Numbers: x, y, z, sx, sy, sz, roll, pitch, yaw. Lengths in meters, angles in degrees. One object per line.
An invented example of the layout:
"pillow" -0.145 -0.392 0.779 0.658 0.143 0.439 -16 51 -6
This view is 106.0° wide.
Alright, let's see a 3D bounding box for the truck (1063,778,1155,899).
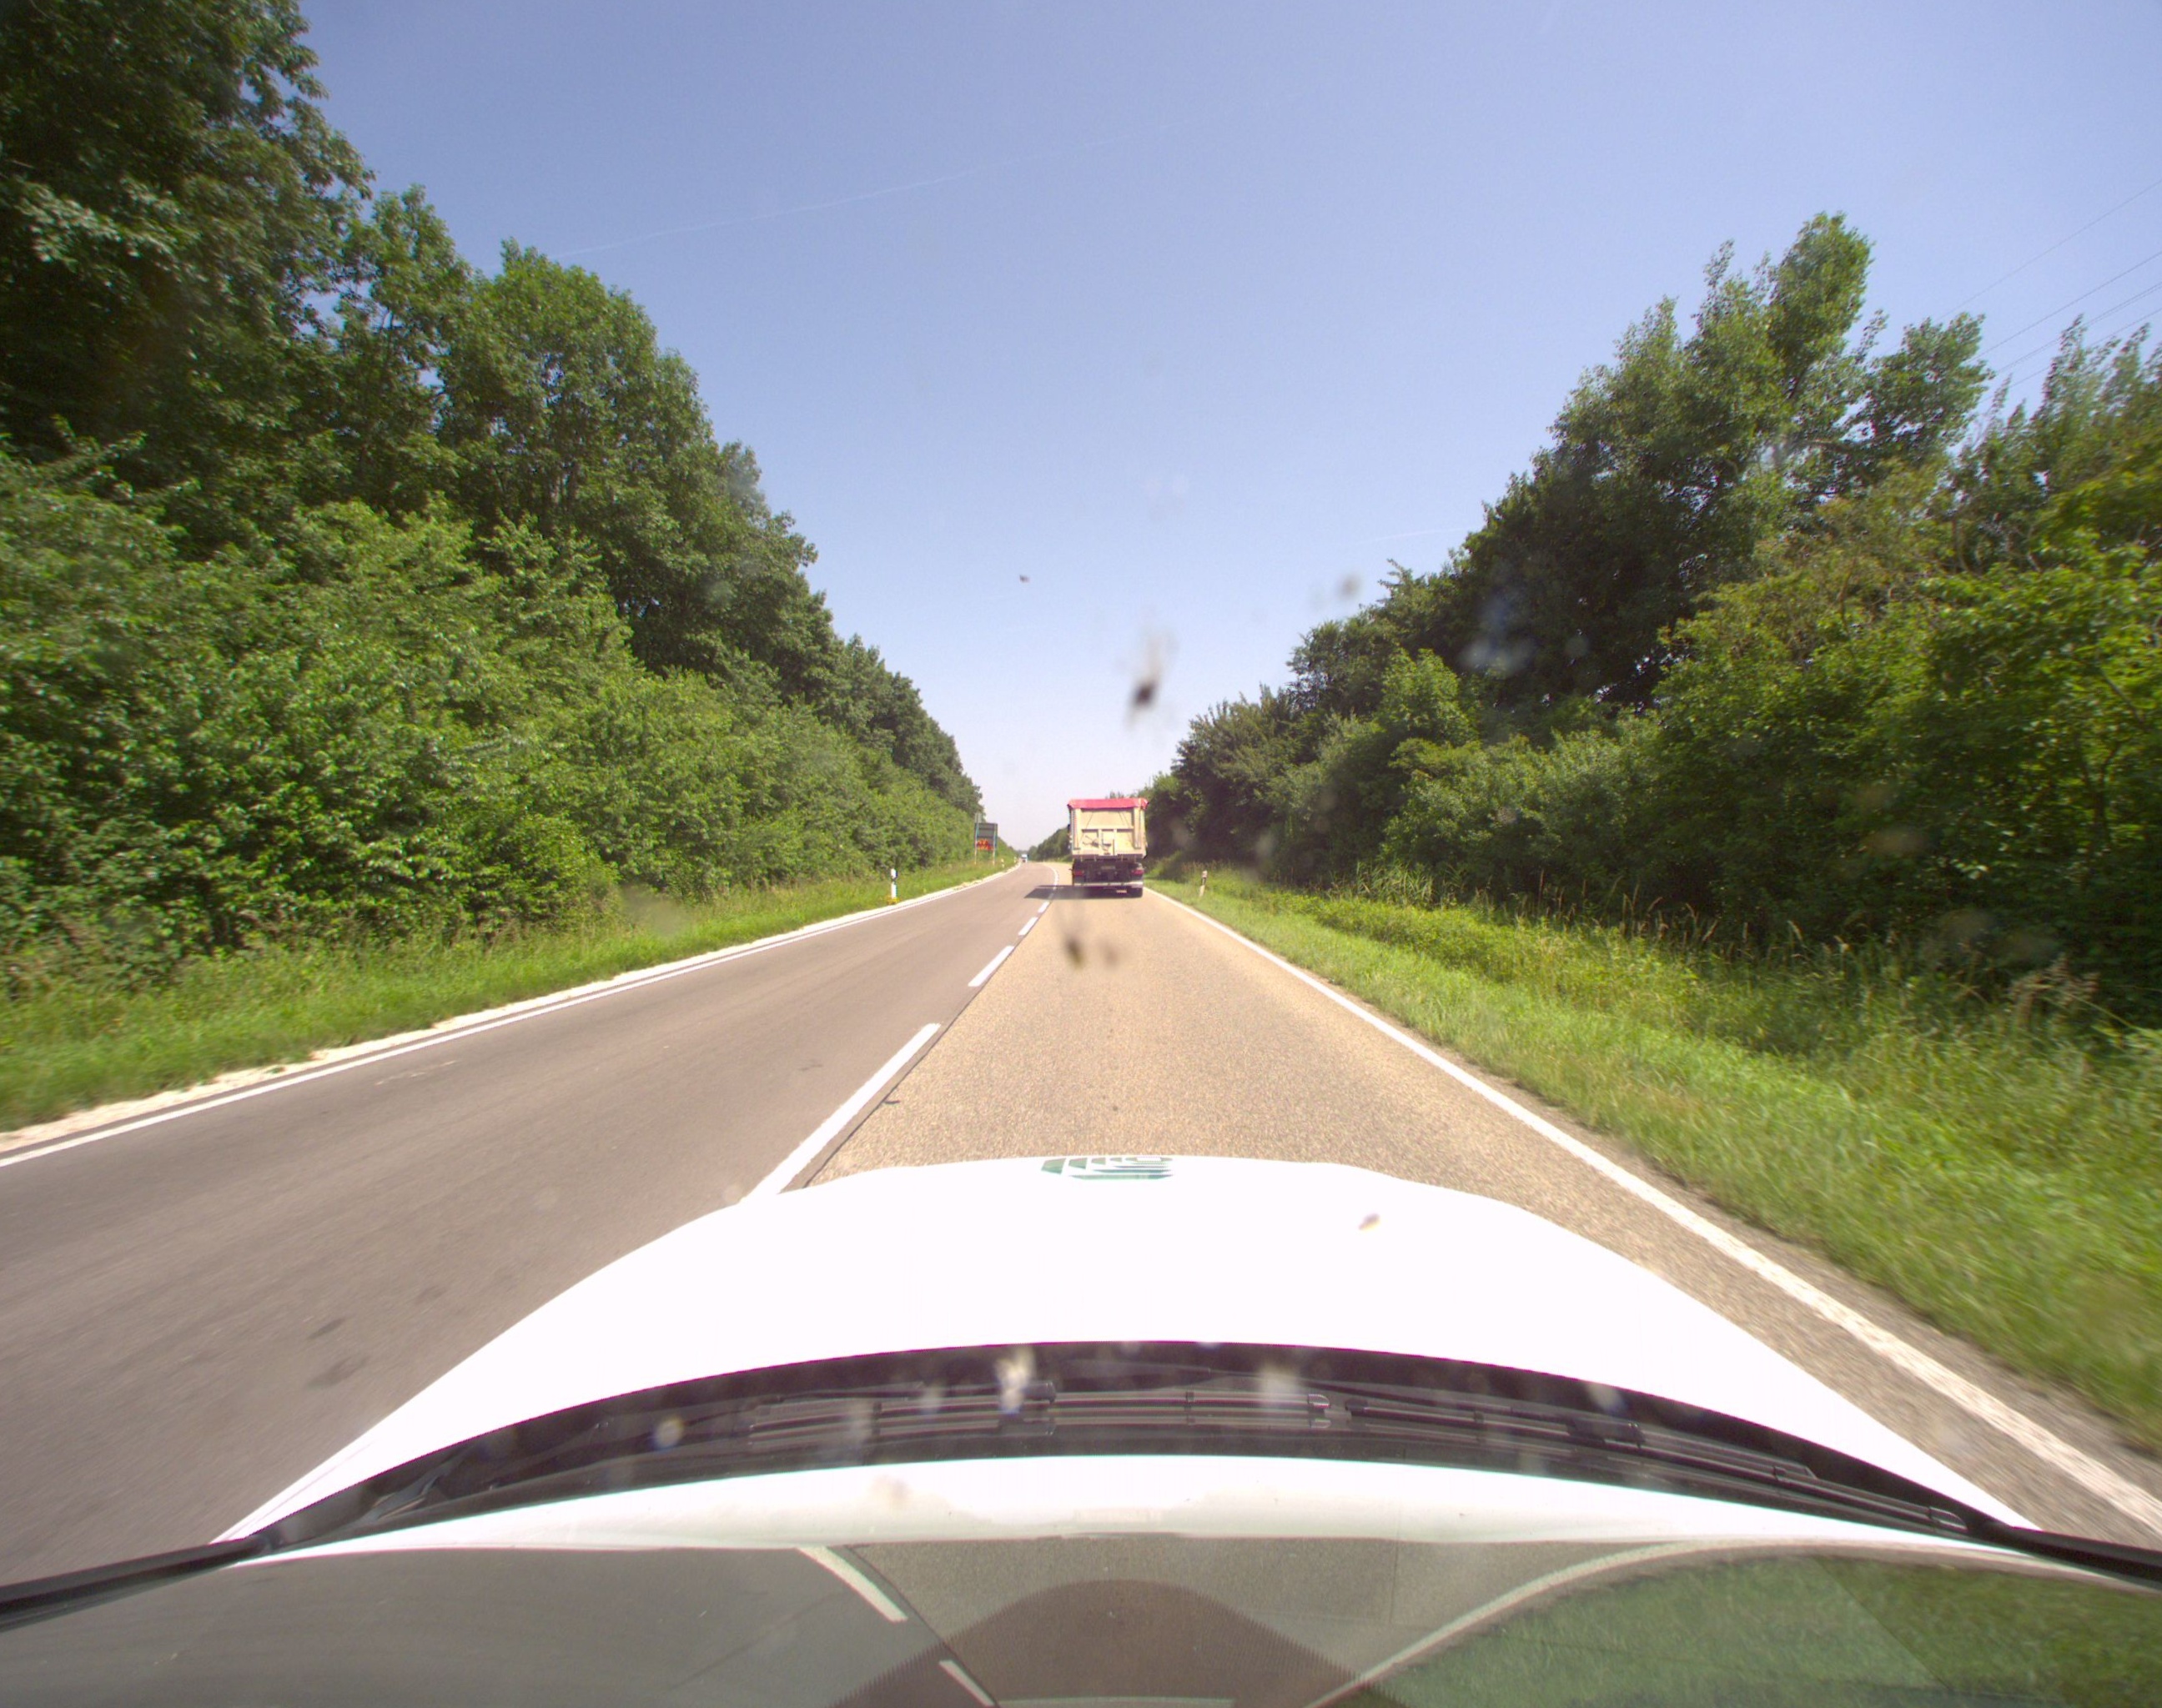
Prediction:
"truck" 0.788 -0.524 32.663 2.885 3.962 11.924 -1 0 -2
